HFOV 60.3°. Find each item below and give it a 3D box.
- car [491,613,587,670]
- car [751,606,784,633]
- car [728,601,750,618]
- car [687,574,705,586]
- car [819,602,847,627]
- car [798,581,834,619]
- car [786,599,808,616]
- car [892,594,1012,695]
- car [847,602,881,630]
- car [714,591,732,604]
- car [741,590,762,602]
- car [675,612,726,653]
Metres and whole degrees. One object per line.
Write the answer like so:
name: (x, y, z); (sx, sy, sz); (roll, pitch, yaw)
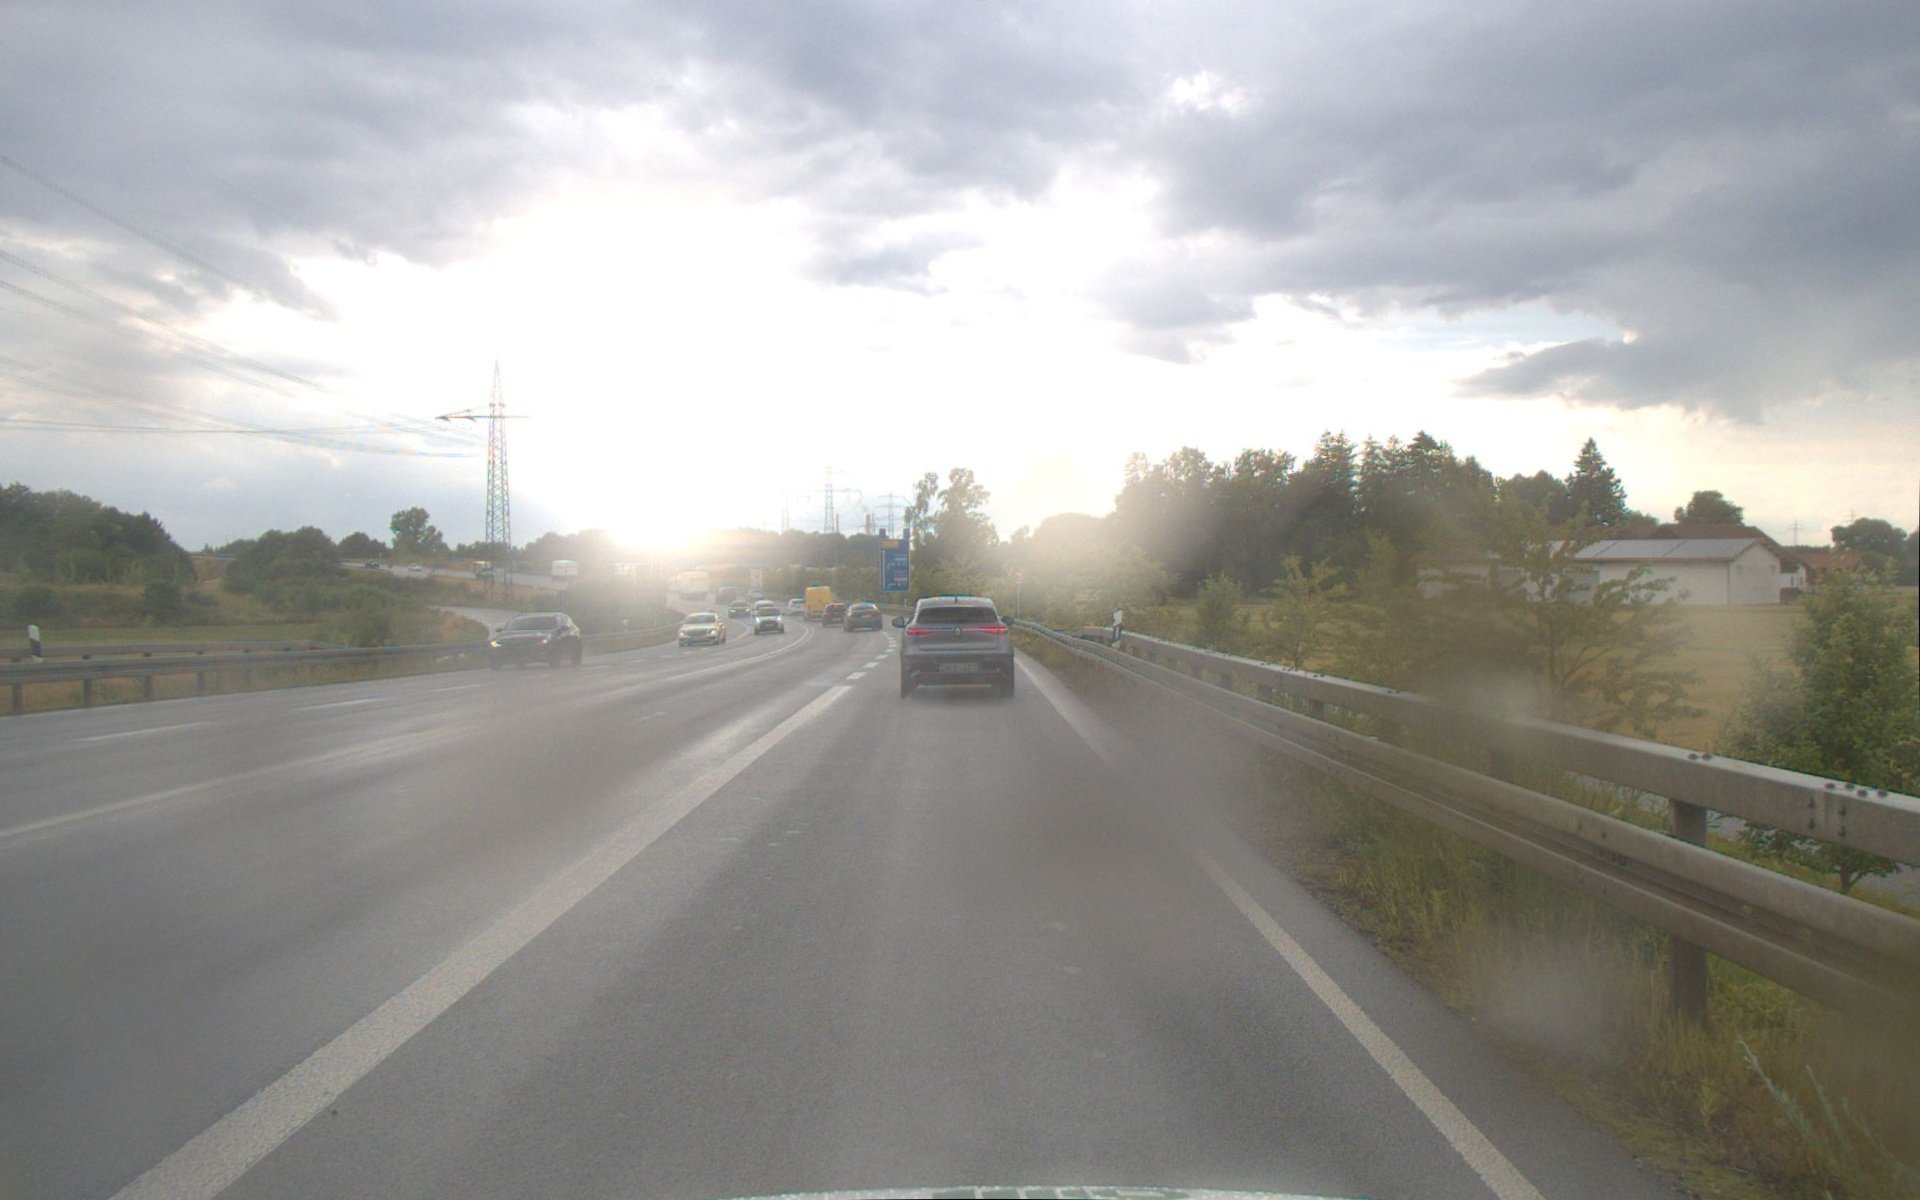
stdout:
car: (-11.623, 1.109, 45.889); (1.735, 1.451, 4.730); (1, 0, -4)
car: (-11.342, 1.119, 97.677); (1.732, 1.526, 4.205); (-1, 0, -5)
car: (-20.310, 0.861, 152.019); (1.861, 1.466, 4.889); (1, 0, -9)
car: (-35.321, -2.711, 221.422); (1.764, 1.466, 3.980); (0, 1, -18)
car: (-8.185, 0.908, 106.343); (1.756, 1.568, 3.996); (1, 0, -5)
car: (-11.131, 0.021, 127.447); (2.524, 2.773, 7.185); (1, 0, -7)
car: (-14.627, 0.652, 148.064); (1.758, 1.466, 3.992); (1, 0, -8)
car: (-0.140, 0.657, 26.292); (1.755, 1.466, 3.999); (1, 0, -1)
car: (-5.279, 0.851, 90.680); (1.756, 1.466, 3.996); (1, 0, -4)
car: (-28.925, -0.307, 201.697); (1.761, 1.466, 3.985); (1, 0, -14)
car: (-25.786, -0.491, 204.454); (1.764, 1.466, 3.978); (1, 0, -19)
car: (-11.927, 1.477, 76.163); (1.905, 1.689, 4.641); (-2, 0, -5)
